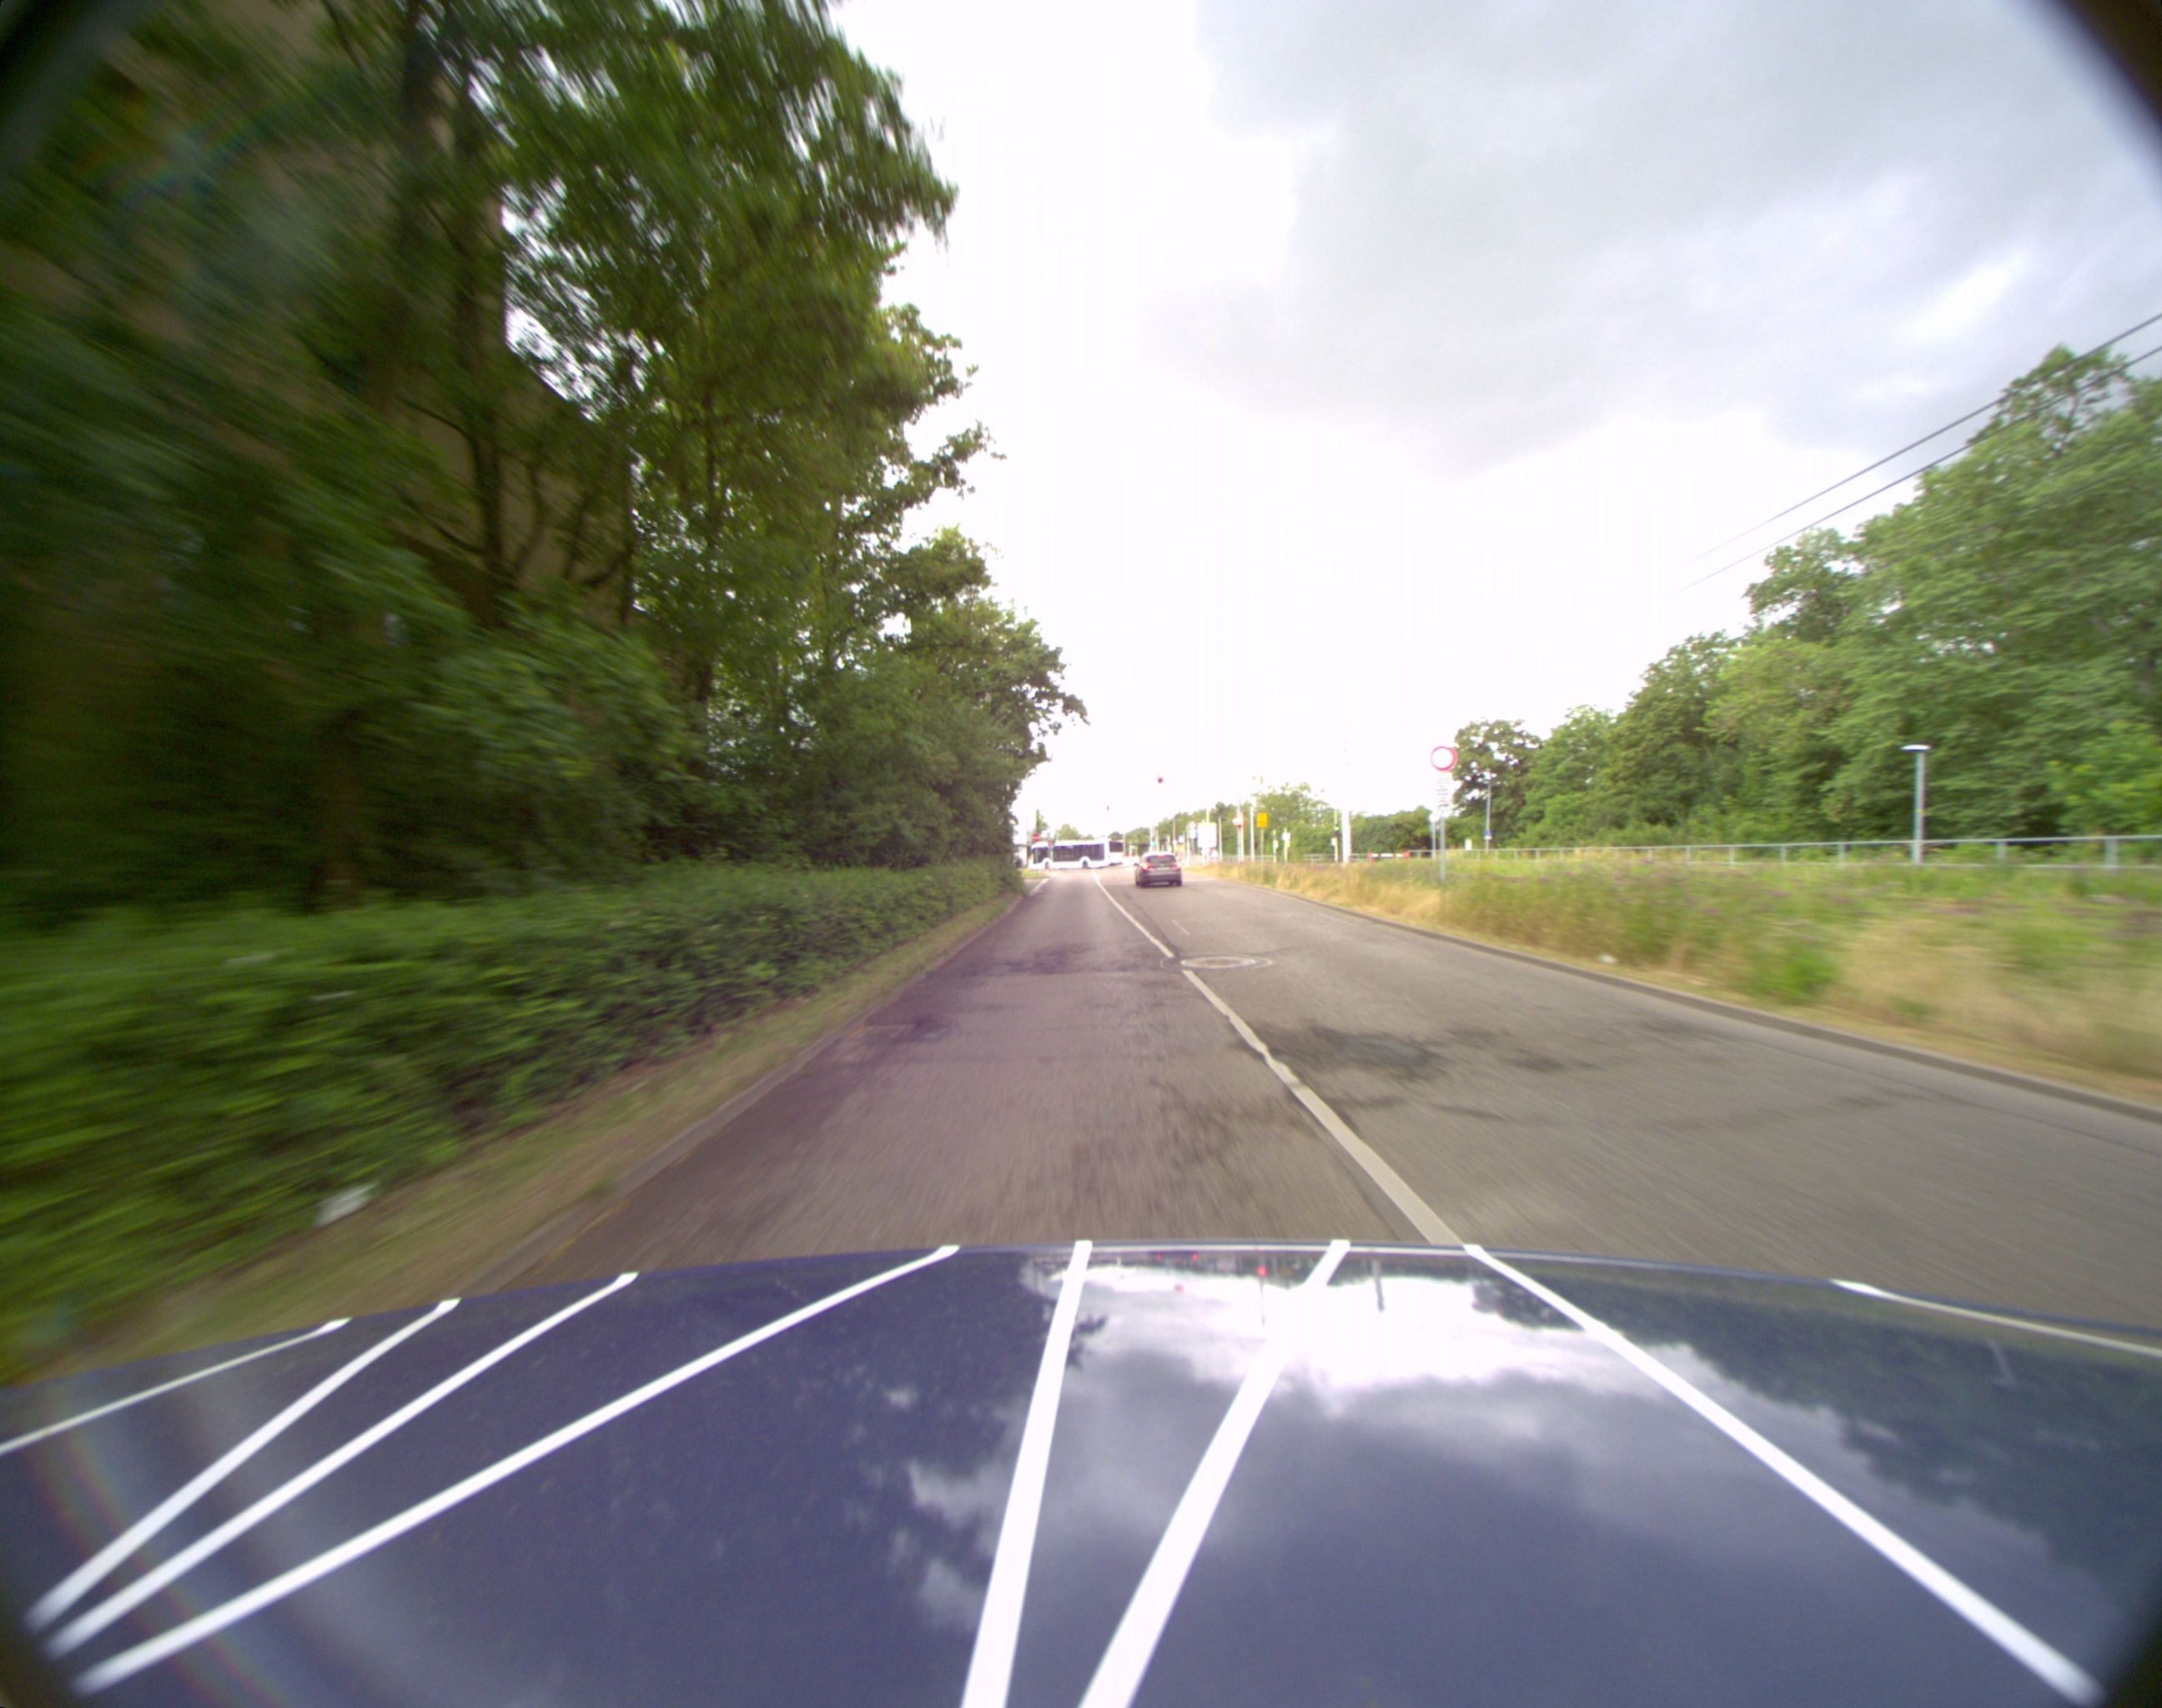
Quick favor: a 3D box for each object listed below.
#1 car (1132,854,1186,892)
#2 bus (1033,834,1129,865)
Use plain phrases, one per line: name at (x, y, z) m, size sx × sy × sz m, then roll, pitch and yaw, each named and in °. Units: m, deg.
car at (3.377, 0.799, 33.540) m, size 1.760 × 1.426 × 4.428 m, roll -4°, pitch 0°, yaw -1°
bus at (-0.242, -0.451, 83.341) m, size 2.680 × 3.184 × 12.165 m, roll -3°, pitch 1°, yaw -45°
